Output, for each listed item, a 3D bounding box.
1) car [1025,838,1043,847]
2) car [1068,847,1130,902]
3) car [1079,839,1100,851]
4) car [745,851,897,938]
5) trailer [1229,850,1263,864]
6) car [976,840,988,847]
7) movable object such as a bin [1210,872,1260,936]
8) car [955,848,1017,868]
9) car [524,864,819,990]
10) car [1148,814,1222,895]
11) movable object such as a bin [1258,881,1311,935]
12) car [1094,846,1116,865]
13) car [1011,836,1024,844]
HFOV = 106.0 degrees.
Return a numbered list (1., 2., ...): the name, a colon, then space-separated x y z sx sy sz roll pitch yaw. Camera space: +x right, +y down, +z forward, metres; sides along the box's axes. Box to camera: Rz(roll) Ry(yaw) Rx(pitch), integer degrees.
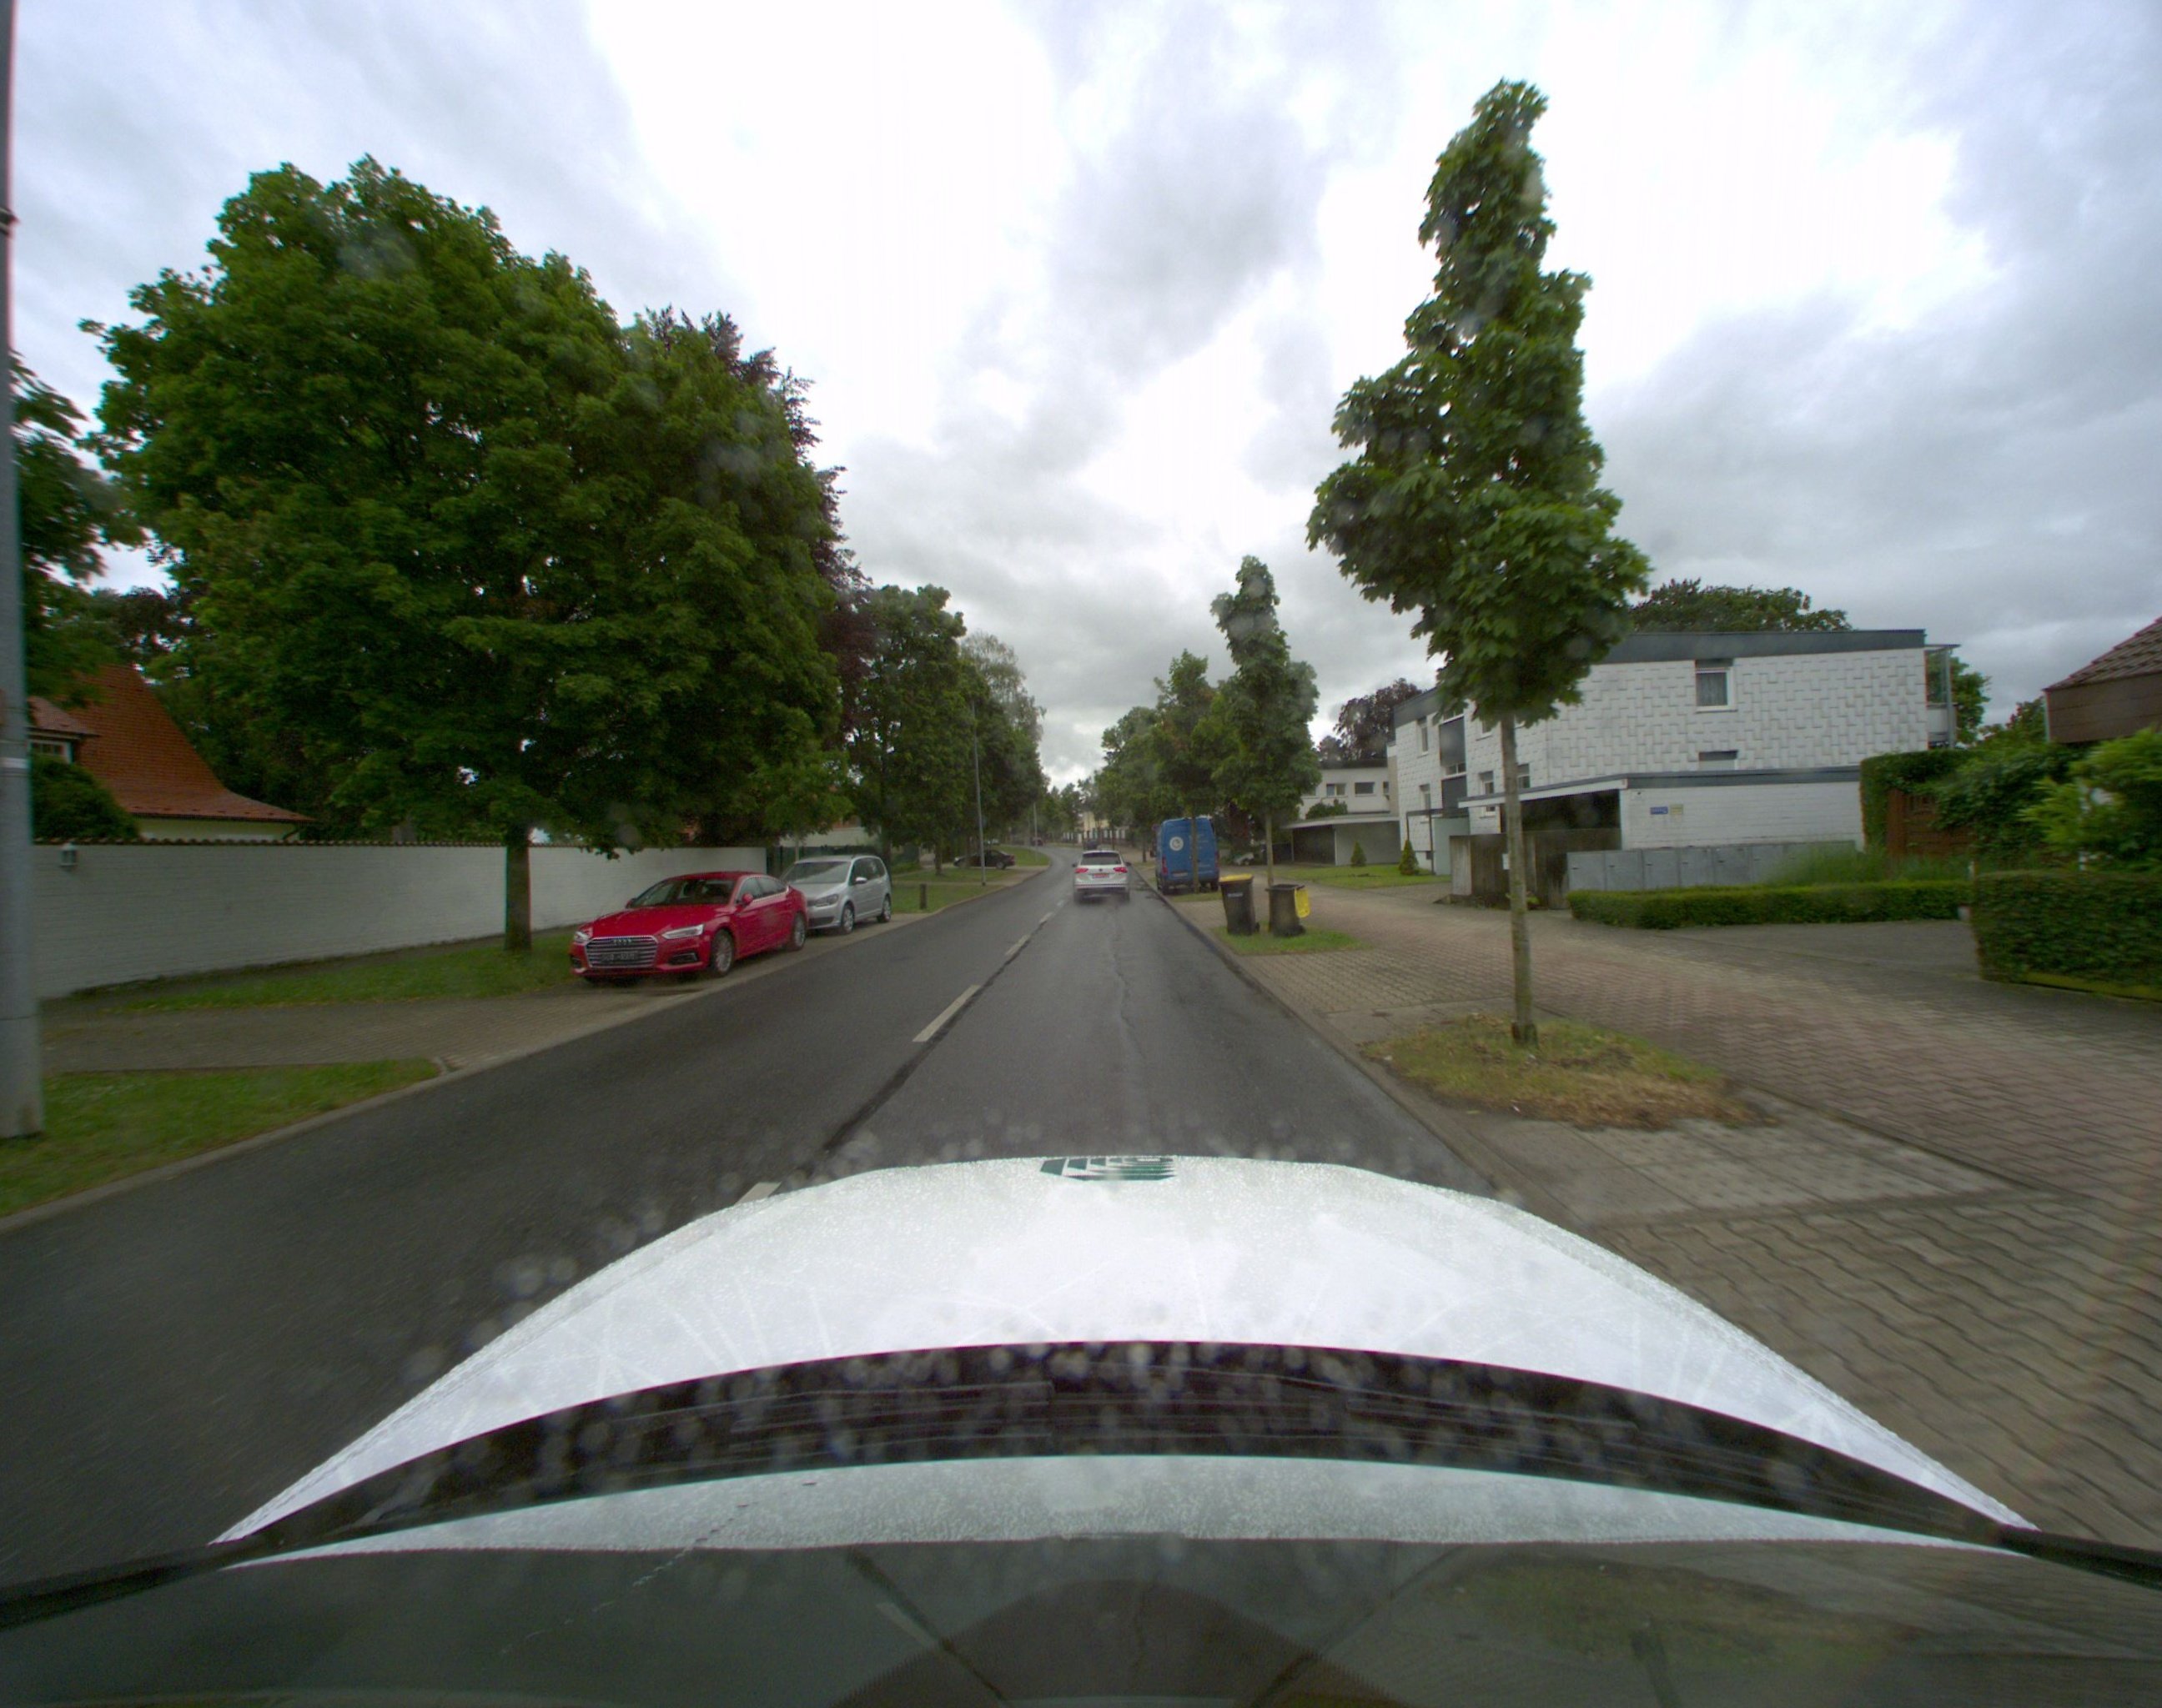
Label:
1. car: -7.635 -1.918 131.514 1.650 1.427 3.968 -1 1 -24
2. car: 0.646 0.623 27.450 1.858 1.650 4.002 -3 0 2
3. car: 1.061 -1.160 104.617 1.647 1.427 3.977 -1 1 -17
4. car: -5.510 0.771 17.871 1.749 1.627 4.235 -2 0 2
5. trailer: 10.757 0.199 53.209 2.033 0.883 1.366 -1 0 4
6. car: -20.610 -2.228 169.490 1.772 1.427 3.976 -1 1 -18
7. movable object such as a bin: 2.681 0.866 14.186 0.608 1.015 0.566 -7 -2 27
8. car: -6.909 0.294 59.357 4.197 1.363 1.693 -1 0 6
9. car: -5.738 0.919 12.224 1.986 1.403 4.558 -2 0 1
10. car: 3.759 -0.010 30.382 1.986 2.586 5.635 -4 0 1
11. movable object such as a bin: 3.378 0.891 13.510 0.653 0.800 0.604 -6 -1 27
12. car: 2.132 0.147 72.958 1.764 1.551 3.998 -2 0 -1
13. car: -11.487 -2.493 147.104 1.645 1.427 3.980 -1 1 -15
